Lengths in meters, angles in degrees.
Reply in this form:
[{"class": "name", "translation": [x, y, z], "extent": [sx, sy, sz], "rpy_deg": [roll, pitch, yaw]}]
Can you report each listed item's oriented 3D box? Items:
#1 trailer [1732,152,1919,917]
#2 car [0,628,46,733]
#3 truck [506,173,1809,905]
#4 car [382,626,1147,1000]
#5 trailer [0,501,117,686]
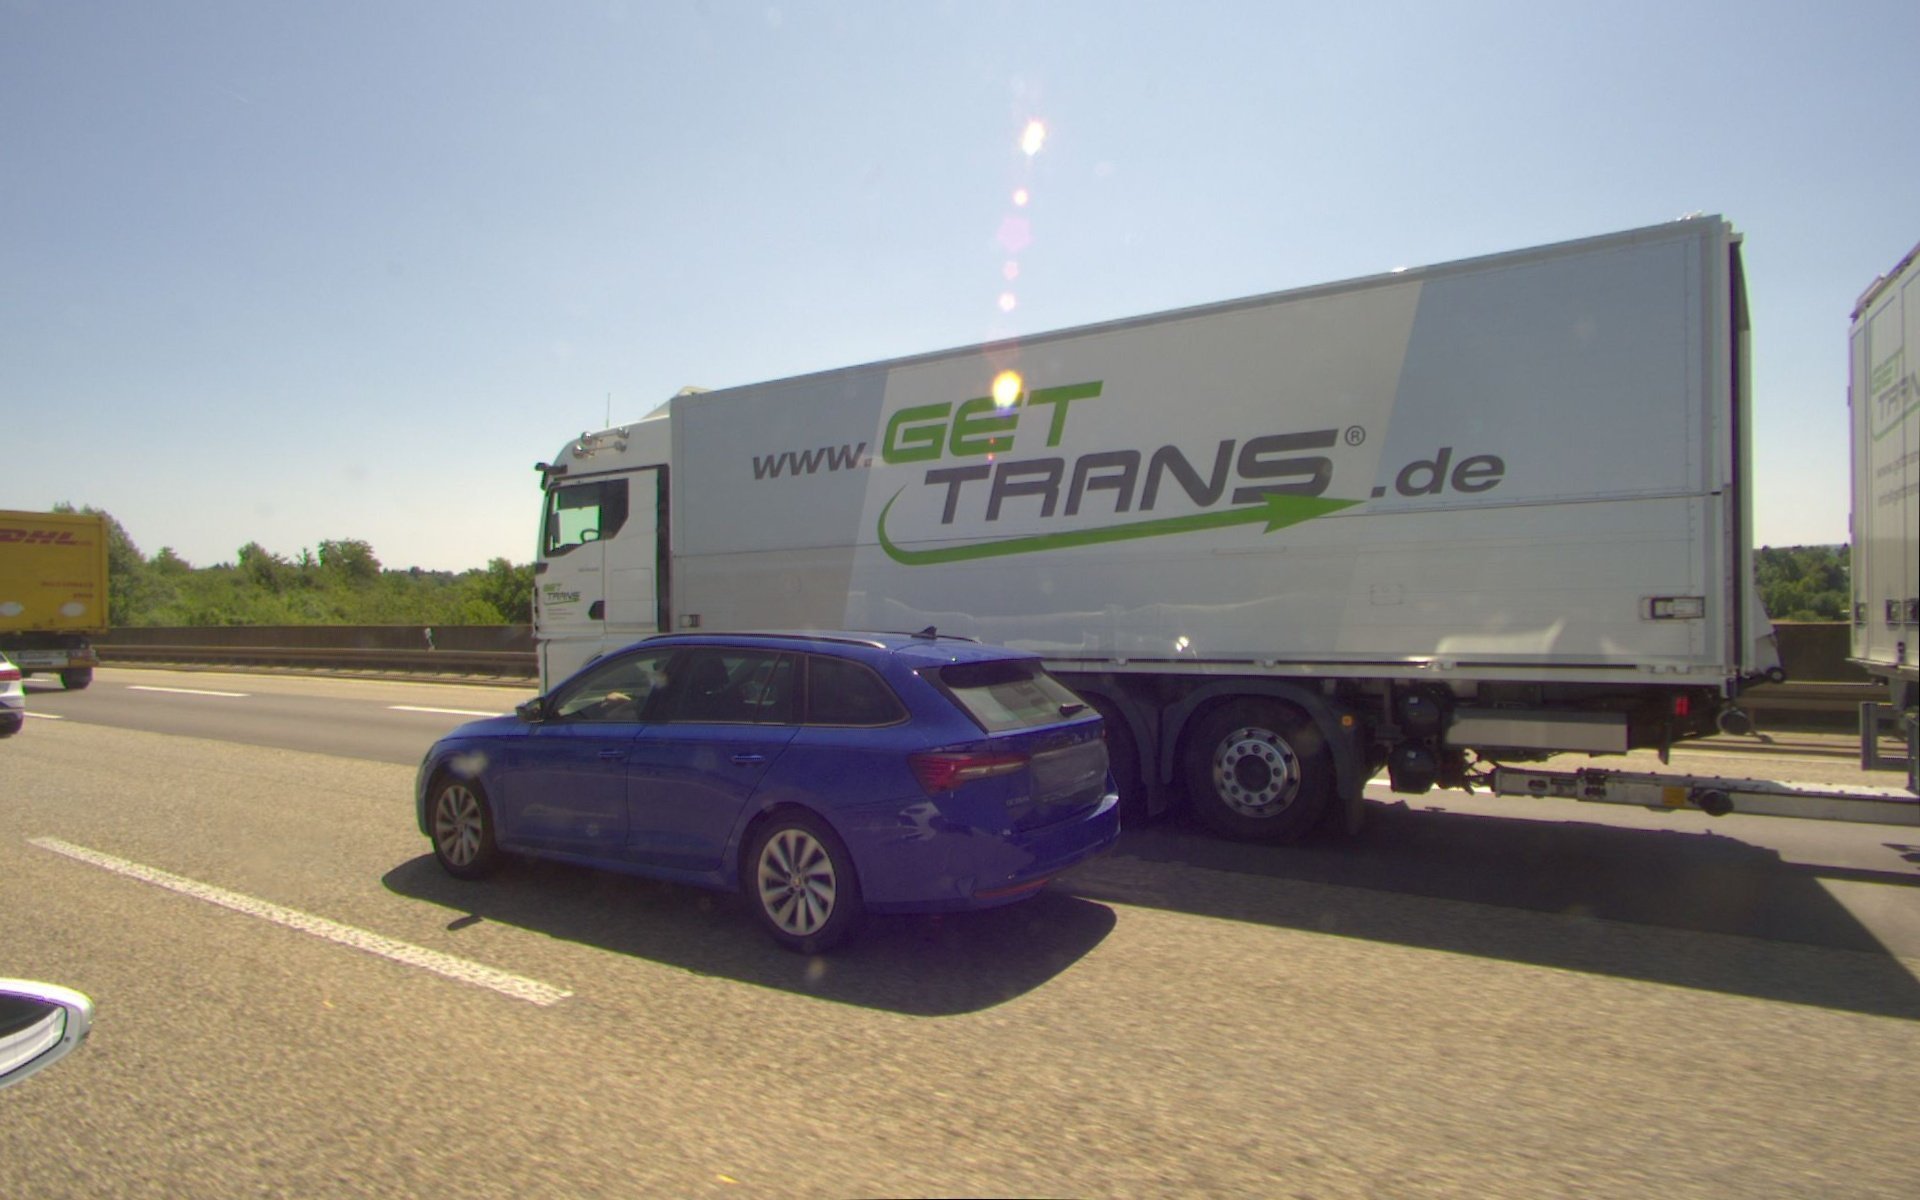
[{"class": "trailer", "translation": [8.442, -0.326, 4.014], "extent": [8.172, 3.640, 2.840], "rpy_deg": [-1, -1, 32]}, {"class": "car", "translation": [-14.849, 1.103, 14.198], "extent": [4.128, 1.405, 1.778], "rpy_deg": [-1, -1, 32]}, {"class": "truck", "translation": [0.430, -0.155, 9.018], "extent": [10.614, 3.648, 2.846], "rpy_deg": [-1, -2, 32]}, {"class": "car", "translation": [-1.317, 0.883, 5.836], "extent": [4.436, 1.459, 1.707], "rpy_deg": [-1, -1, 32]}, {"class": "trailer", "translation": [-24.499, -0.009, 25.050], "extent": [8.804, 4.074, 2.697], "rpy_deg": [-2, -2, 33]}]
